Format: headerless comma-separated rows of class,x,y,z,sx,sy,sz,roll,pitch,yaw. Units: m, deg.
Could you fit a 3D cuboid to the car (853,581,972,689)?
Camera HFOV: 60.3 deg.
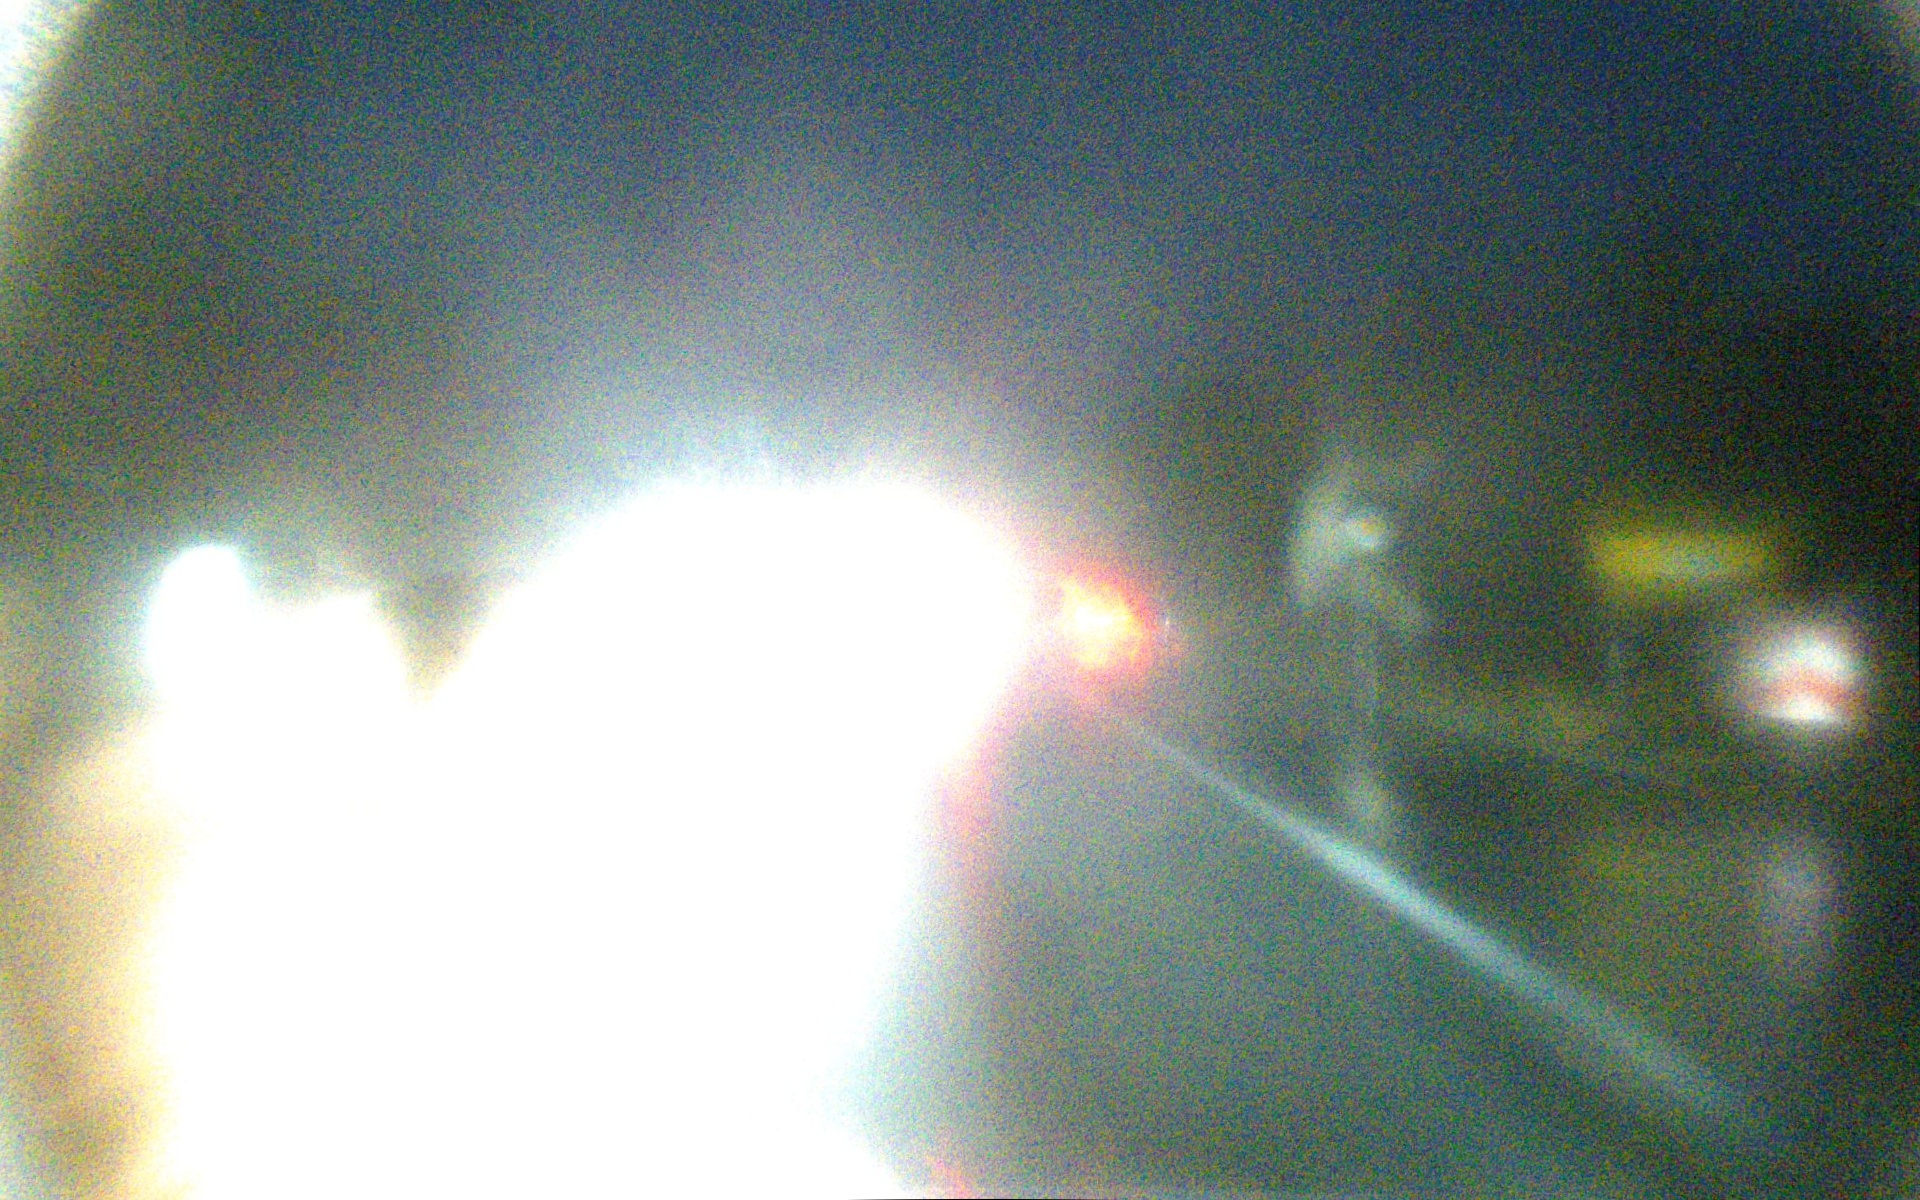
car,-0.866,0.548,27.742,1.773,1.650,3.996,1,0,-4

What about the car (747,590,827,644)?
car,-5.067,0.480,48.959,1.953,1.443,4.664,2,0,-2

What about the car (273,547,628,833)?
car,-3.518,0.559,12.166,1.756,1.721,3.994,2,0,-7

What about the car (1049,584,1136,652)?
car,4.178,0.547,52.937,2.053,2.049,3.995,2,0,-6
